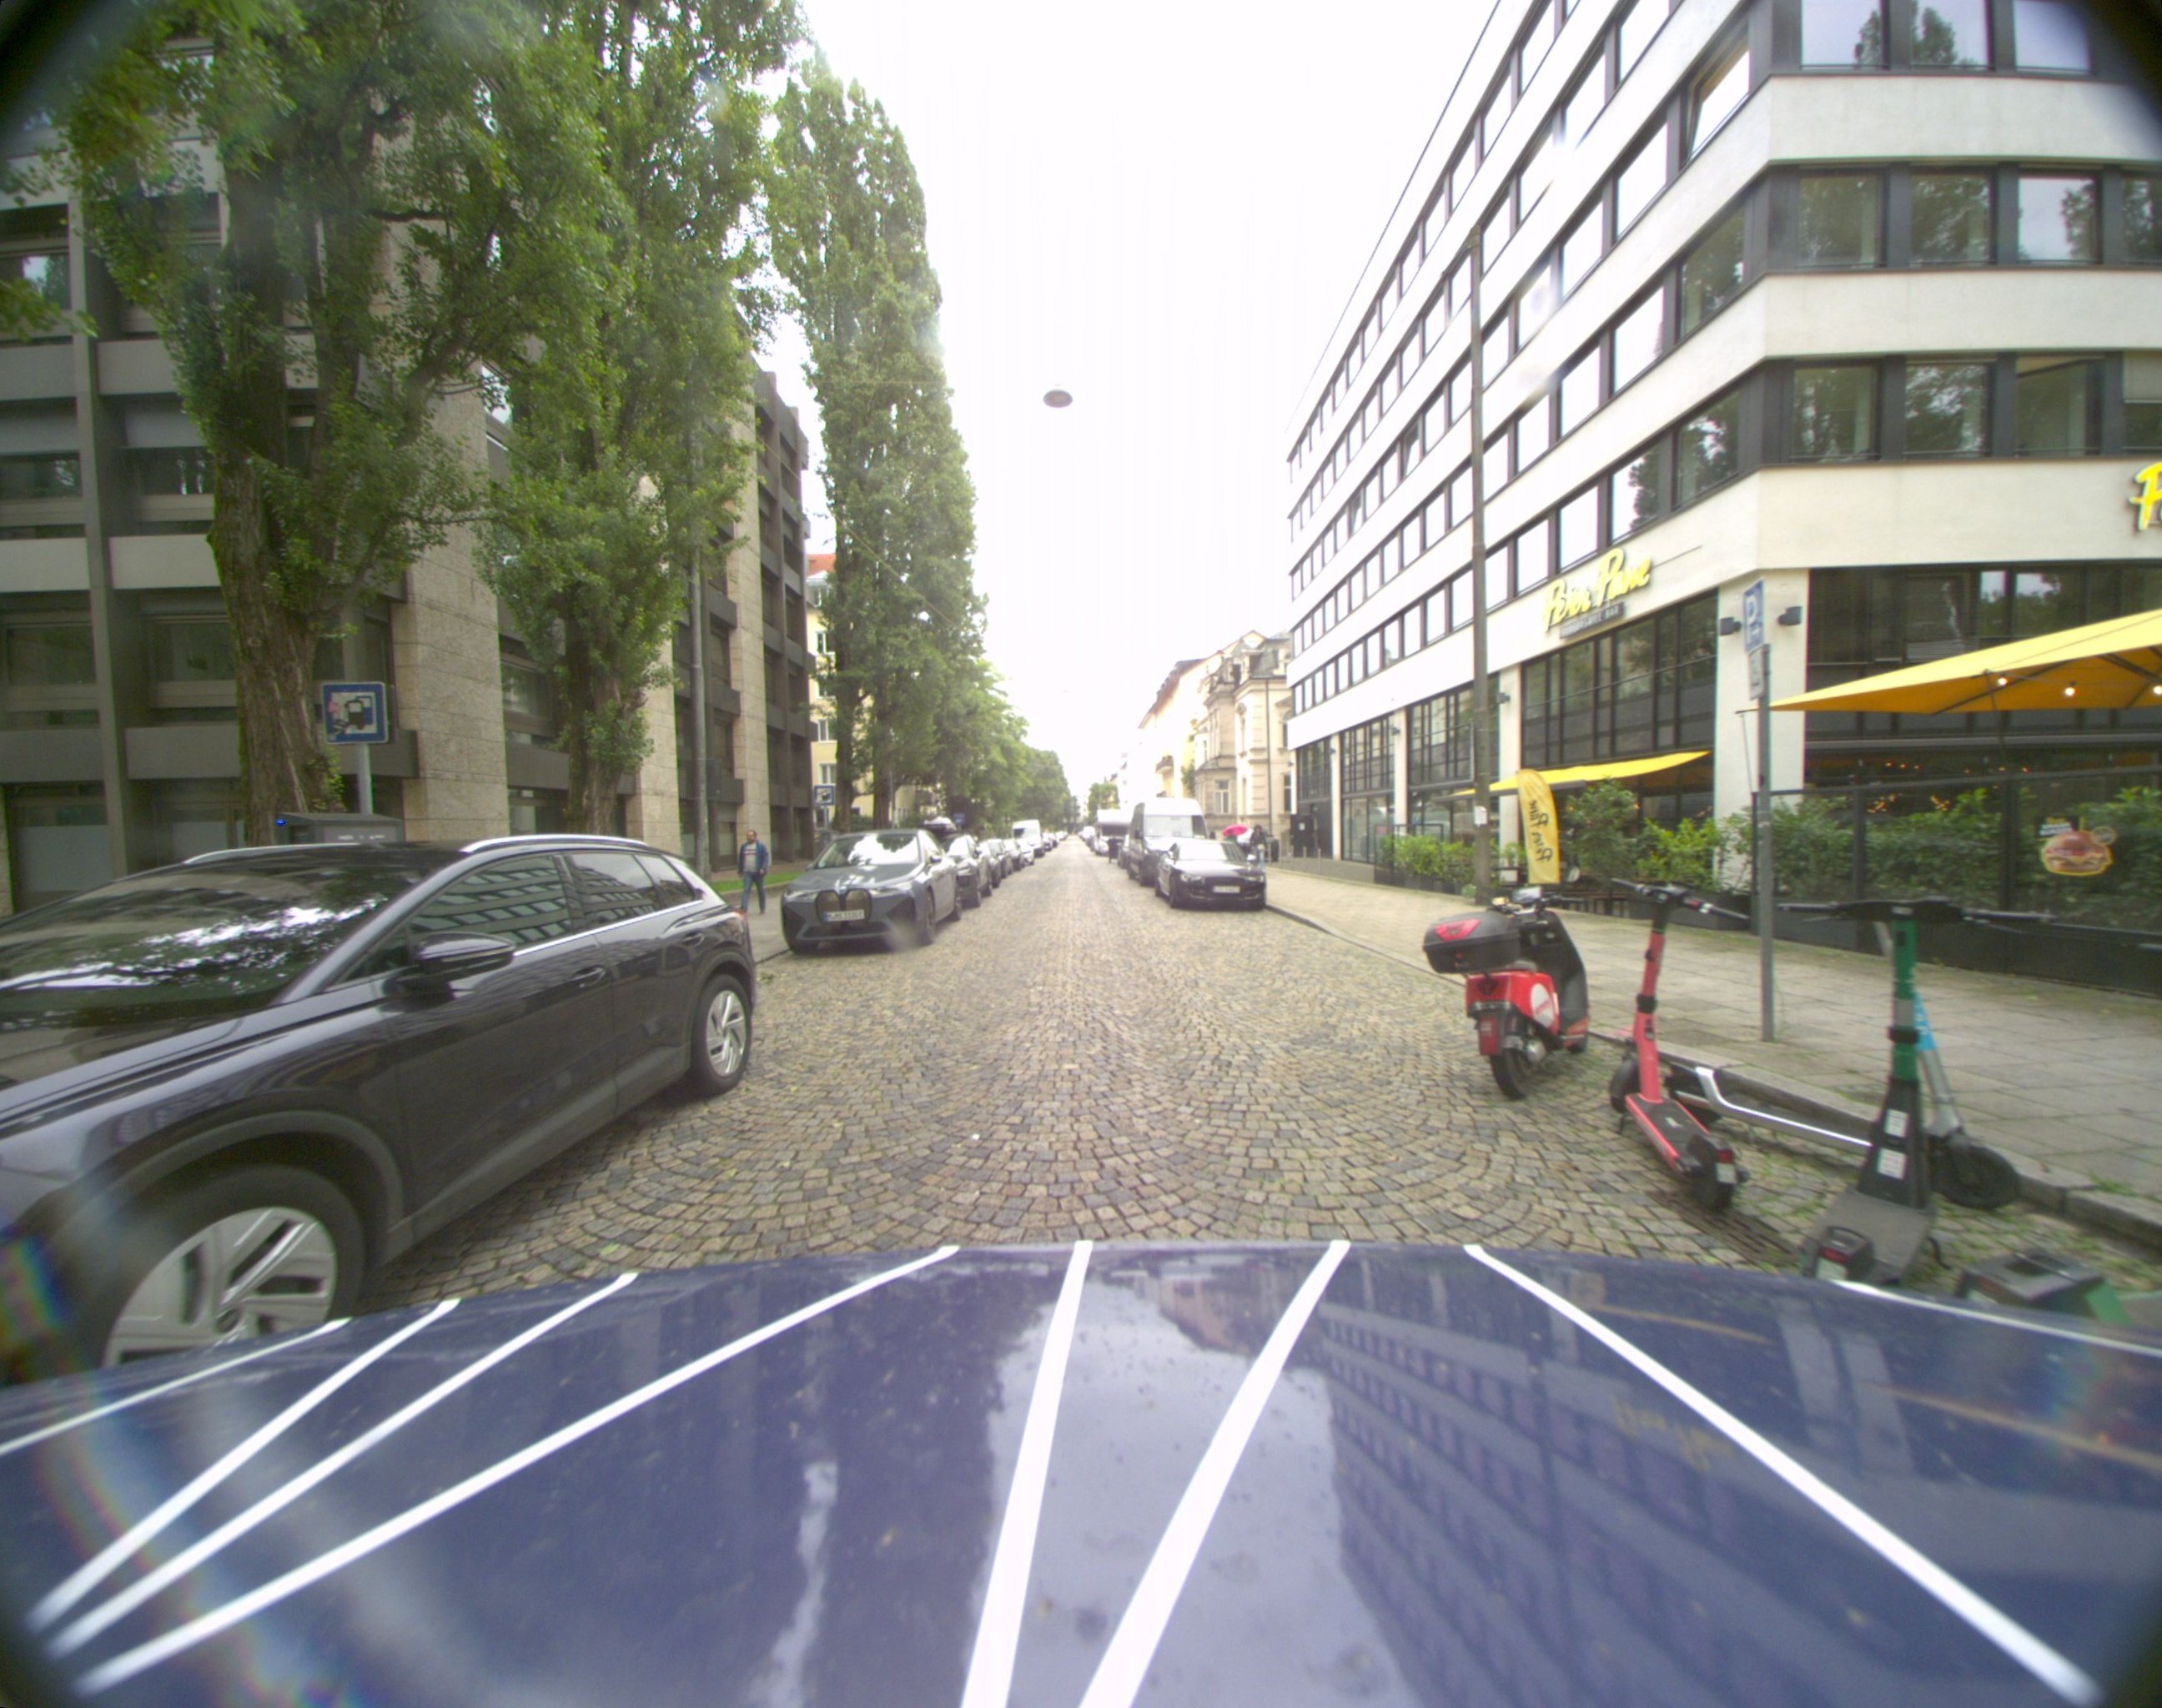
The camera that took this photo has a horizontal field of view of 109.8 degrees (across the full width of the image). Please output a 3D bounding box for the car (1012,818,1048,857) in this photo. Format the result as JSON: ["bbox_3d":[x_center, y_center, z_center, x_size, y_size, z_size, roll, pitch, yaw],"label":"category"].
[{"bbox_3d":[-3.365,-1.151,51.287,2.088,2.419,5.607,-3,2,-2],"label":"car"}]

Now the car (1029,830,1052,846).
[{"bbox_3d":[-3.749,-1.514,70.121,1.999,1.380,3.871,-3,2,-3],"label":"car"}]

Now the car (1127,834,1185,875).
[{"bbox_3d":[2.828,-0.034,29.460,1.998,1.423,3.999,-1,2,2],"label":"car"}]

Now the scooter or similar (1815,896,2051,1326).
[{"bbox_3d":[3.212,0.840,2.844,1.253,1.266,0.327,-3,3,-30],"label":"scooter or similar"}]

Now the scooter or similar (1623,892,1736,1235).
[{"bbox_3d":[2.867,0.882,3.706,0.326,1.266,1.360,0,3,34],"label":"scooter or similar"}]

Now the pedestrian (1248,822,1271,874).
[{"bbox_3d":[6.051,-0.221,25.762,0.575,1.738,0.650,-1,3,-1],"label":"pedestrian"}]

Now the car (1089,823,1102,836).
[{"bbox_3d":[2.595,-4.470,138.539,2.088,2.419,5.607,-2,2,-2],"label":"car"}]

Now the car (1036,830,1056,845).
[{"bbox_3d":[-3.613,-1.726,78.633,1.999,1.380,3.871,-2,2,-3],"label":"car"}]

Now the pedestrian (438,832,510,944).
[{"bbox_3d":[-8.999,0.489,11.278,0.489,1.619,0.568,-1,3,3],"label":"pedestrian"}]

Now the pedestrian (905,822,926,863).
[{"bbox_3d":[-6.392,-0.459,29.401,0.645,1.529,0.708,-1,3,-3],"label":"pedestrian"}]

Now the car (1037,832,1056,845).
[{"bbox_3d":[-3.883,-1.754,85.653,1.999,1.380,3.871,-2,2,-3],"label":"car"}]

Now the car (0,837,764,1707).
[{"bbox_3d":[-3.106,0.846,3.026,1.925,1.691,4.199,-2,2,-1],"label":"car"}]

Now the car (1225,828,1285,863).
[{"bbox_3d":[8.206,-0.465,36.208,1.912,1.524,4.168,-1,2,0],"label":"car"}]

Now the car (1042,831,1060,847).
[{"bbox_3d":[-3.637,-1.824,90.587,1.999,1.680,3.871,-3,2,-3],"label":"car"}]

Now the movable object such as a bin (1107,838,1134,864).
[{"bbox_3d":[2.028,-0.161,39.468,1.255,1.291,1.173,-1,2,-4],"label":"movable object such as a bin"}]

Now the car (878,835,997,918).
[{"bbox_3d":[-3.158,0.405,17.663,1.999,1.574,4.339,-2,2,-1],"label":"car"}]

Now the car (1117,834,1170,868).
[{"bbox_3d":[2.722,-0.173,33.979,1.999,1.381,3.998,-1,2,-1],"label":"car"}]

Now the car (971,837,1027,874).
[{"bbox_3d":[-3.537,0.005,33.496,1.999,1.380,3.871,-3,2,-1],"label":"car"}]

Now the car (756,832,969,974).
[{"bbox_3d":[-3.099,0.552,11.935,2.018,1.691,4.670,-2,2,-1],"label":"car"}]

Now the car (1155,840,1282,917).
[{"bbox_3d":[2.754,0.416,16.200,1.998,1.323,4.115,-1,2,1],"label":"car"}]

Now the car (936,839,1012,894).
[{"bbox_3d":[-3.269,0.322,24.045,1.723,1.382,4.203,-4,3,0],"label":"car"}]

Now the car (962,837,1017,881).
[{"bbox_3d":[-3.390,0.130,28.707,1.605,1.423,3.560,-4,2,-1],"label":"car"}]

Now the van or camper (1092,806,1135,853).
[{"bbox_3d":[2.203,-1.739,53.425,2.464,3.031,7.313,-1,2,-1],"label":"van or camper"}]

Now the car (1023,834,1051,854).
[{"bbox_3d":[-3.303,-0.790,57.874,1.999,1.380,3.871,-3,2,-3],"label":"car"}]

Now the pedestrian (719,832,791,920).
[{"bbox_3d":[-6.581,0.416,15.370,0.867,1.705,0.913,0,3,19],"label":"pedestrian"}]

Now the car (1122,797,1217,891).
[{"bbox_3d":[2.545,-0.360,23.298,2.065,2.477,5.846,-2,2,-1],"label":"car"}]

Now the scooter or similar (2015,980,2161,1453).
[{"bbox_3d":[3.352,0.930,2.033,1.250,1.138,0.327,-1,3,1],"label":"scooter or similar"}]

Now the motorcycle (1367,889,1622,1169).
[{"bbox_3d":[2.580,0.891,4.625,1.995,1.189,0.769,-3,3,-43],"label":"motorcycle"}]

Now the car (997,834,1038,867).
[{"bbox_3d":[-3.208,-0.232,38.820,1.868,1.491,3.871,-3,2,-3],"label":"car"}]

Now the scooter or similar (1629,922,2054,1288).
[{"bbox_3d":[3.218,0.959,3.342,0.390,1.173,1.248,-3,3,-31],"label":"scooter or similar"}]

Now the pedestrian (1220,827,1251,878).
[{"bbox_3d":[5.307,-0.071,26.136,0.928,1.697,0.799,-1,3,3],"label":"pedestrian"}]
